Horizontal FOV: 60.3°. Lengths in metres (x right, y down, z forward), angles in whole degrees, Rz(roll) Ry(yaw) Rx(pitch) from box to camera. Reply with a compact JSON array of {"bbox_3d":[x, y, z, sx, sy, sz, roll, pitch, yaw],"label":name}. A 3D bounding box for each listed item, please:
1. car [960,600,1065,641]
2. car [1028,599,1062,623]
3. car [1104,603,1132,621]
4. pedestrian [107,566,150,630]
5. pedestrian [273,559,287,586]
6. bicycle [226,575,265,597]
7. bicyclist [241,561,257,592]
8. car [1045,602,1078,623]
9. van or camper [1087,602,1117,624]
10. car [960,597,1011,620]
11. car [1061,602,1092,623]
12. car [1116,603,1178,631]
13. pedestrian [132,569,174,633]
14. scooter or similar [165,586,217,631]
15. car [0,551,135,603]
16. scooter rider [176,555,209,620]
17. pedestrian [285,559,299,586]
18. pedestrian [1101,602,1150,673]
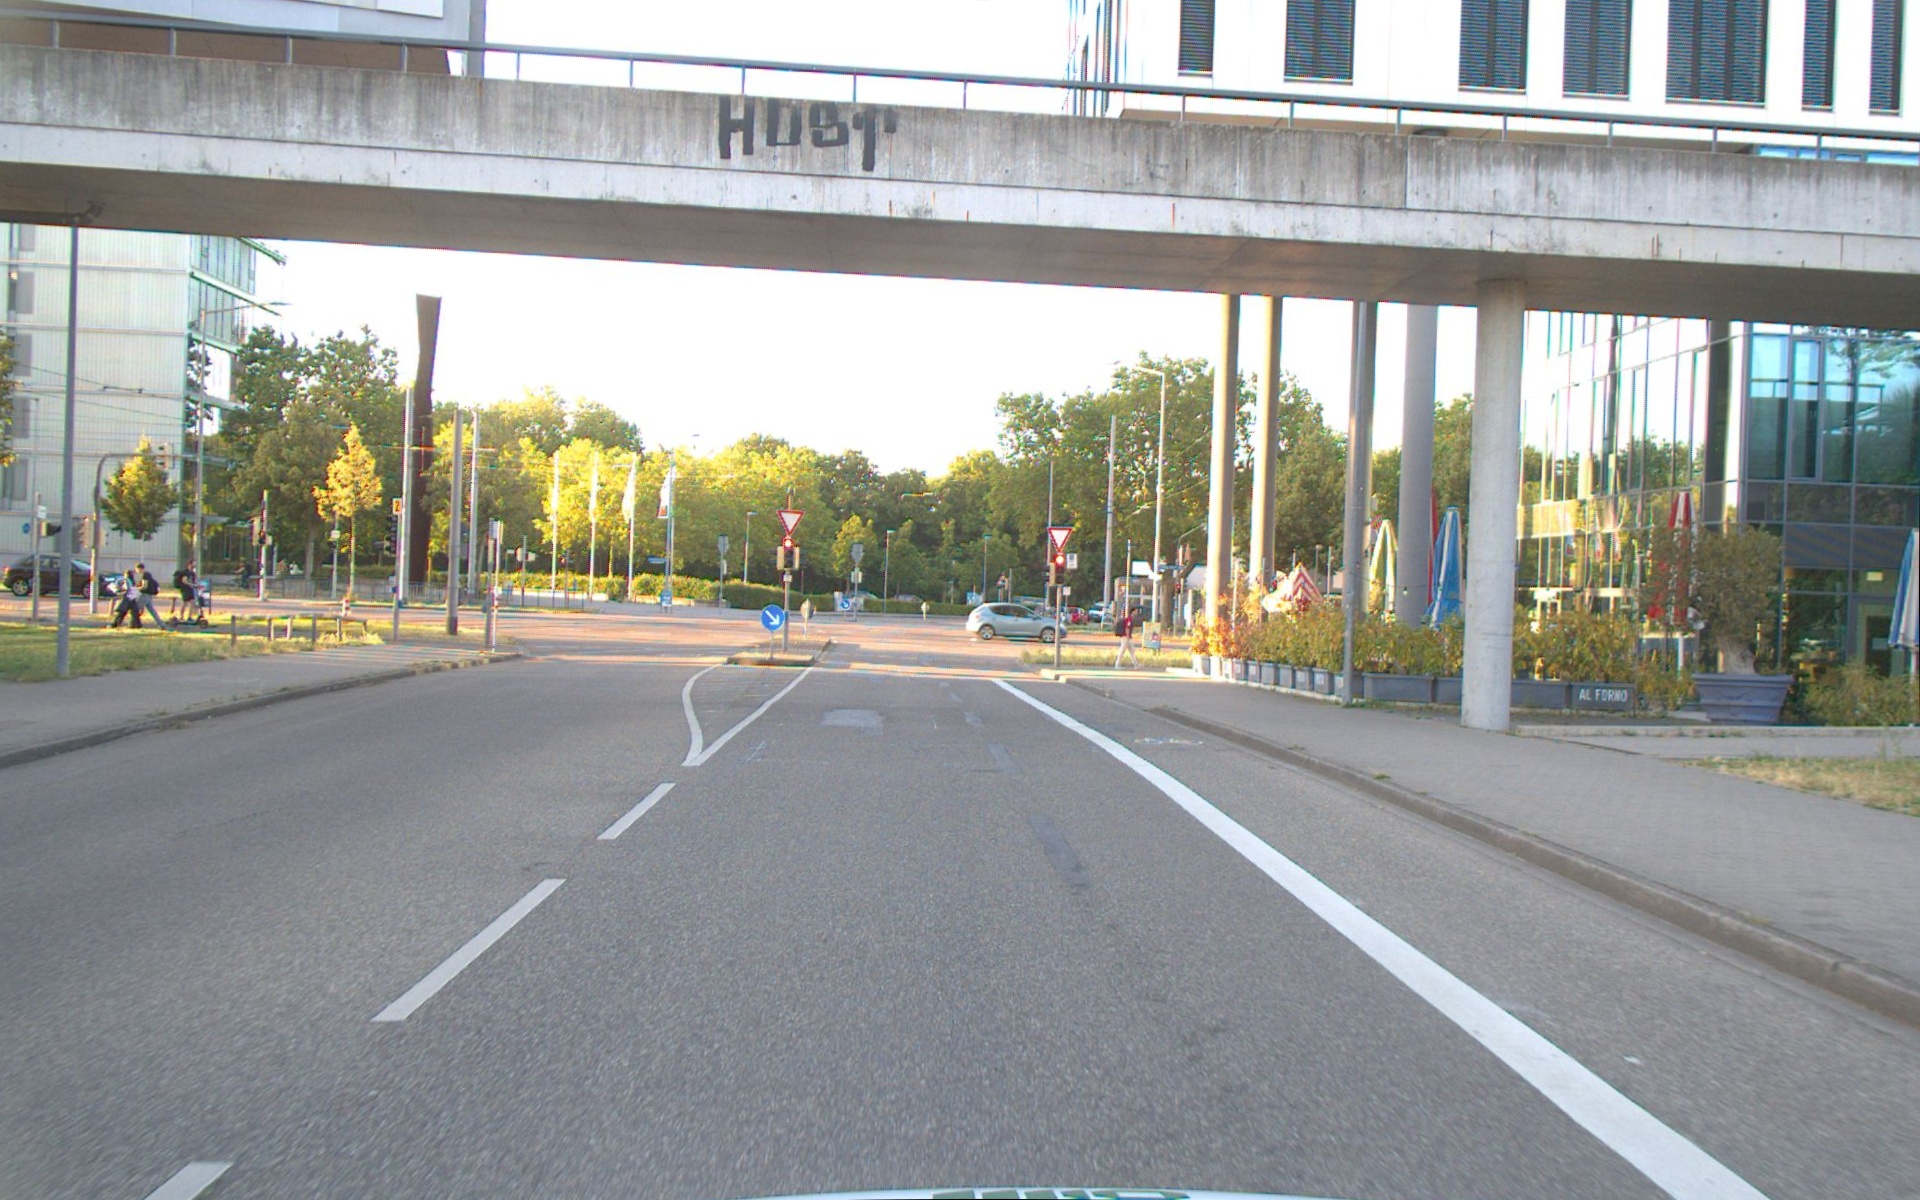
[{"bbox_3d":[2.058,0.795,64.964,3.944,1.444,1.601,2,1,-4],"label":"car"},{"bbox_3d":[6.608,0.841,128.474,1.467,1.791,3.401,3,1,24],"label":"car"},{"bbox_3d":[14.117,1.102,147.614,1.467,1.503,3.082,3,1,24],"label":"car"},{"bbox_3d":[-21.954,-0.053,43.665,0.671,1.652,0.712,2,1,15],"label":"pedestrian"},{"bbox_3d":[-51.312,-2.085,124.810,0.681,2.048,0.699,2,1,18],"label":"pedestrian"},{"bbox_3d":[-40.690,-0.788,94.197,1.939,1.148,0.555,1,1,-28],"label":"bicycle"},{"bbox_3d":[-40.517,-1.331,94.257,0.748,1.753,0.547,2,1,-27],"label":"bicyclist"},{"bbox_3d":[8.140,0.989,132.137,1.467,1.634,3.401,3,1,24],"label":"car"},{"bbox_3d":[14.065,1.253,163.713,1.594,2.016,3.801,3,1,28],"label":"van or camper"},{"bbox_3d":[2.382,0.780,155.309,4.586,1.901,2.014,2,1,5],"label":"car"},{"bbox_3d":[9.592,1.047,135.952,1.467,1.634,3.401,3,1,24],"label":"car"},{"bbox_3d":[13.758,1.232,121.945,4.374,1.848,1.946,2,1,4],"label":"car"},{"bbox_3d":[-21.675,0.020,44.424,0.685,1.693,0.712,2,1,15],"label":"pedestrian"},{"bbox_3d":[-21.775,0.244,46.850,1.190,1.221,0.503,2,1,-6],"label":"scooter or similar"},{"bbox_3d":[-34.901,-0.899,64.570,4.378,1.848,1.944,2,1,-3],"label":"car"},{"bbox_3d":[-21.731,-0.349,46.853,0.692,1.813,0.442,2,1,-6],"label":"scooter rider"},{"bbox_3d":[-50.890,-2.093,126.013,0.681,2.048,0.699,2,1,18],"label":"pedestrian"},{"bbox_3d":[4.530,1.023,45.280,1.036,1.865,0.892,2,1,-15],"label":"pedestrian"}]
